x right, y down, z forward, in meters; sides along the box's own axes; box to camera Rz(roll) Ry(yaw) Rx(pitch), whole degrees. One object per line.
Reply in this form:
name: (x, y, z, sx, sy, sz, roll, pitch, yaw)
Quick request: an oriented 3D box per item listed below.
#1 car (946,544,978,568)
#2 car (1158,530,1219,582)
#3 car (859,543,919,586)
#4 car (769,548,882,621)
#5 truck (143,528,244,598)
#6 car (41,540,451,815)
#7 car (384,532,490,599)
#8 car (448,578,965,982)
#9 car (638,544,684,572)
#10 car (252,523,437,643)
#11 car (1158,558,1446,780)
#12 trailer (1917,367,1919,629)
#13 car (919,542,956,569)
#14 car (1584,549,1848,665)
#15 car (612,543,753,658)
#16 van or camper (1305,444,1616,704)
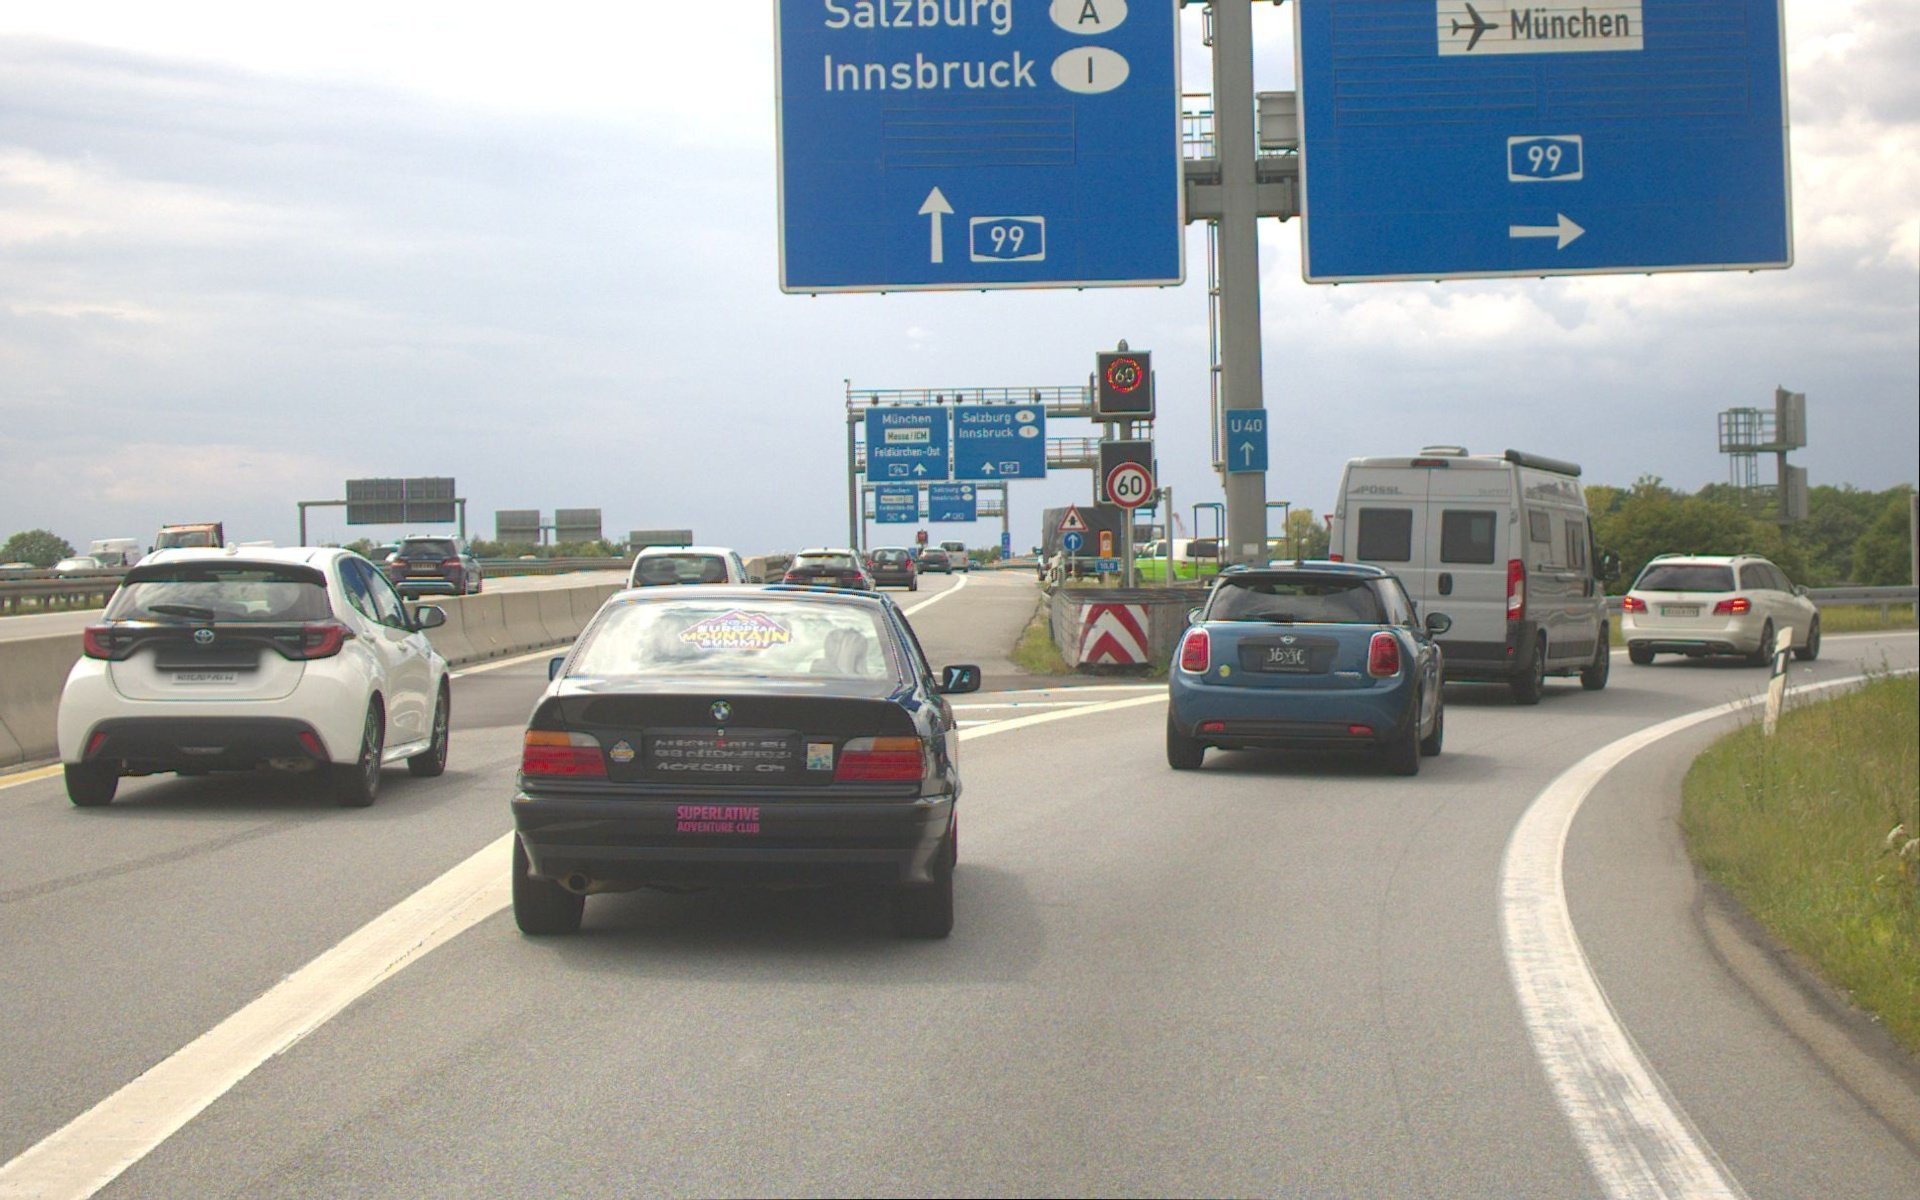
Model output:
car: (0.148, -2.667, 207.140, 1.803, 1.419, 4.000, 0, 1, 2)
car: (8.965, -1.757, 135.154, 1.993, 2.007, 4.000, 0, 1, -2)
car: (-2.342, -1.194, 114.275, 1.866, 1.419, 4.000, 0, 1, 1)
car: (-2.792, -0.347, 72.099, 1.994, 1.463, 4.000, 0, 1, 3)
truck: (-26.726, -1.312, 120.064, 2.276, 2.362, 6.201, 0, 1, -1)
car: (-4.190, 0.393, 20.739, 1.701, 1.503, 3.840, 0, 1, 0)
car: (-13.513, -0.911, 89.061, 1.993, 1.678, 4.866, 0, 1, 0)
car: (-0.888, 0.620, 14.145, 1.782, 1.373, 4.137, 0, 1, 0)
car: (-15.933, -2.240, 183.220, 1.993, 1.463, 4.000, 0, 1, 2)
car: (-8.984, -0.274, 50.462, 1.993, 1.700, 4.000, 0, 1, 0)
car: (2.510, 0.429, 24.543, 1.730, 1.414, 3.664, 1, 1, 11)
trailer: (20.982, -1.663, 58.661, 3.339, 4.179, 12.999, 1, 1, 43)
car: (-1.199, -2.413, 184.559, 1.803, 1.419, 4.000, 0, 1, 2)
car: (10.400, 0.054, 47.036, 2.210, 1.496, 4.779, 0, 1, 30)
car: (-3.700, -0.025, 46.266, 1.585, 1.478, 3.535, 0, 1, 0)
van or camper: (5.515, -0.309, 37.091, 2.295, 2.559, 6.155, 0, 1, 18)
